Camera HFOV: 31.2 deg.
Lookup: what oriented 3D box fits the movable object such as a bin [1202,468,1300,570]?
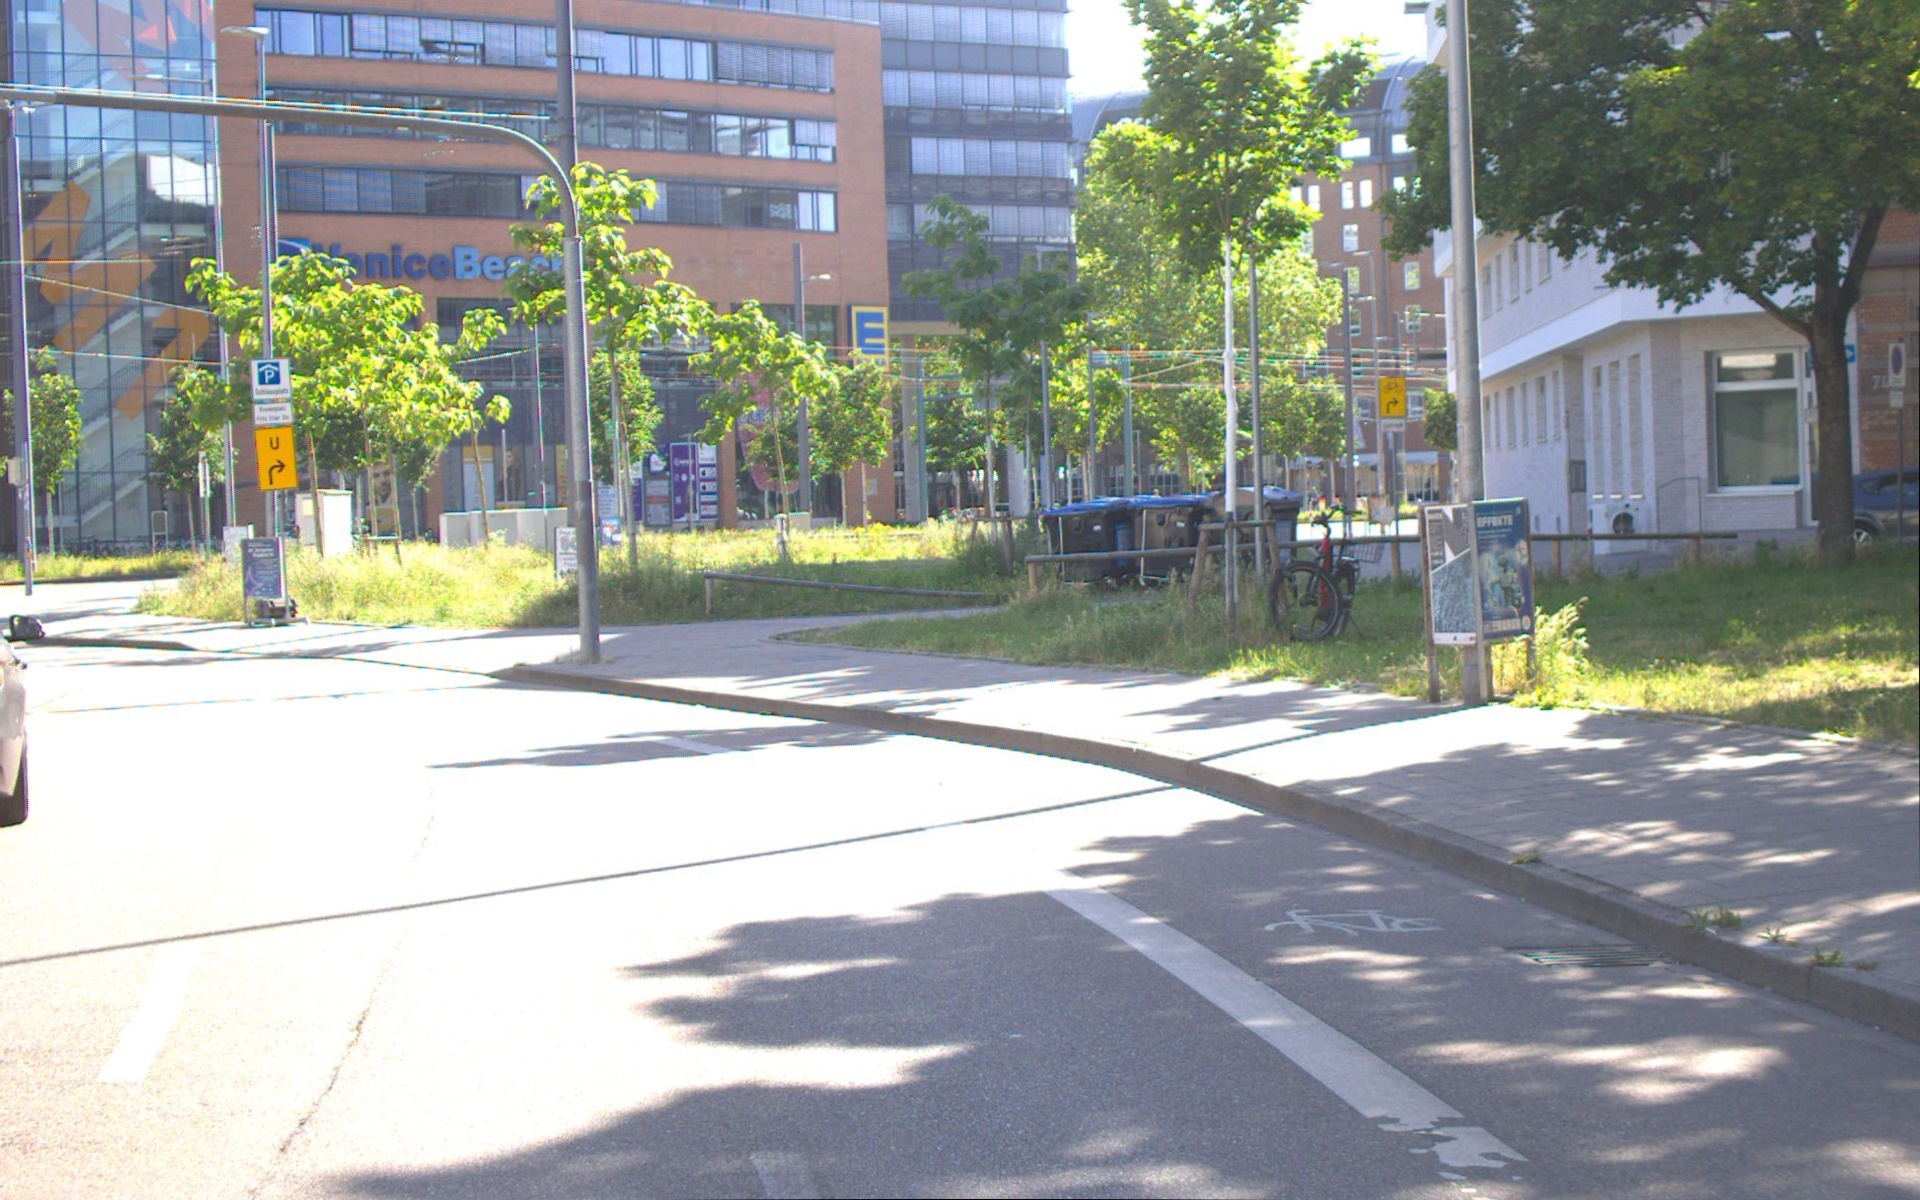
[{"bbox_3d":[4.141,-1.157,48.908,1.030,1.393,1.089,-2,2,24],"label":"movable object such as a bin"}]

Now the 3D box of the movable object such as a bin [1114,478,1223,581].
[{"bbox_3d":[2.985,-1.009,49.115,1.108,1.393,1.319,-2,2,24],"label":"movable object such as a bin"}]

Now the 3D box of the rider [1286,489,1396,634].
[{"bbox_3d":[3.354,-0.348,30.140,0.502,1.172,1.674,-2,3,21],"label":"rider"}]

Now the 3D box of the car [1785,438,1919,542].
[{"bbox_3d":[14.368,-1.647,50.153,4.101,1.431,1.997,-1,2,31],"label":"car"}]

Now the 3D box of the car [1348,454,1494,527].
[{"bbox_3d":[13.968,-3.317,104.021,3.991,2.006,1.998,-2,2,20],"label":"car"}]

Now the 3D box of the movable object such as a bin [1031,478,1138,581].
[{"bbox_3d":[1.790,-1.009,49.157,1.070,1.393,1.302,-2,2,24],"label":"movable object such as a bin"}]

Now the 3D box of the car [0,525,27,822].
[{"bbox_3d":[-5.883,0.344,18.360,1.733,1.418,4.469,0,0,-15],"label":"car"}]

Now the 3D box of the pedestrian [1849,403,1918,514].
[{"bbox_3d":[13.381,-2.051,49.819,0.642,1.571,0.770,-1,2,41],"label":"pedestrian"}]
